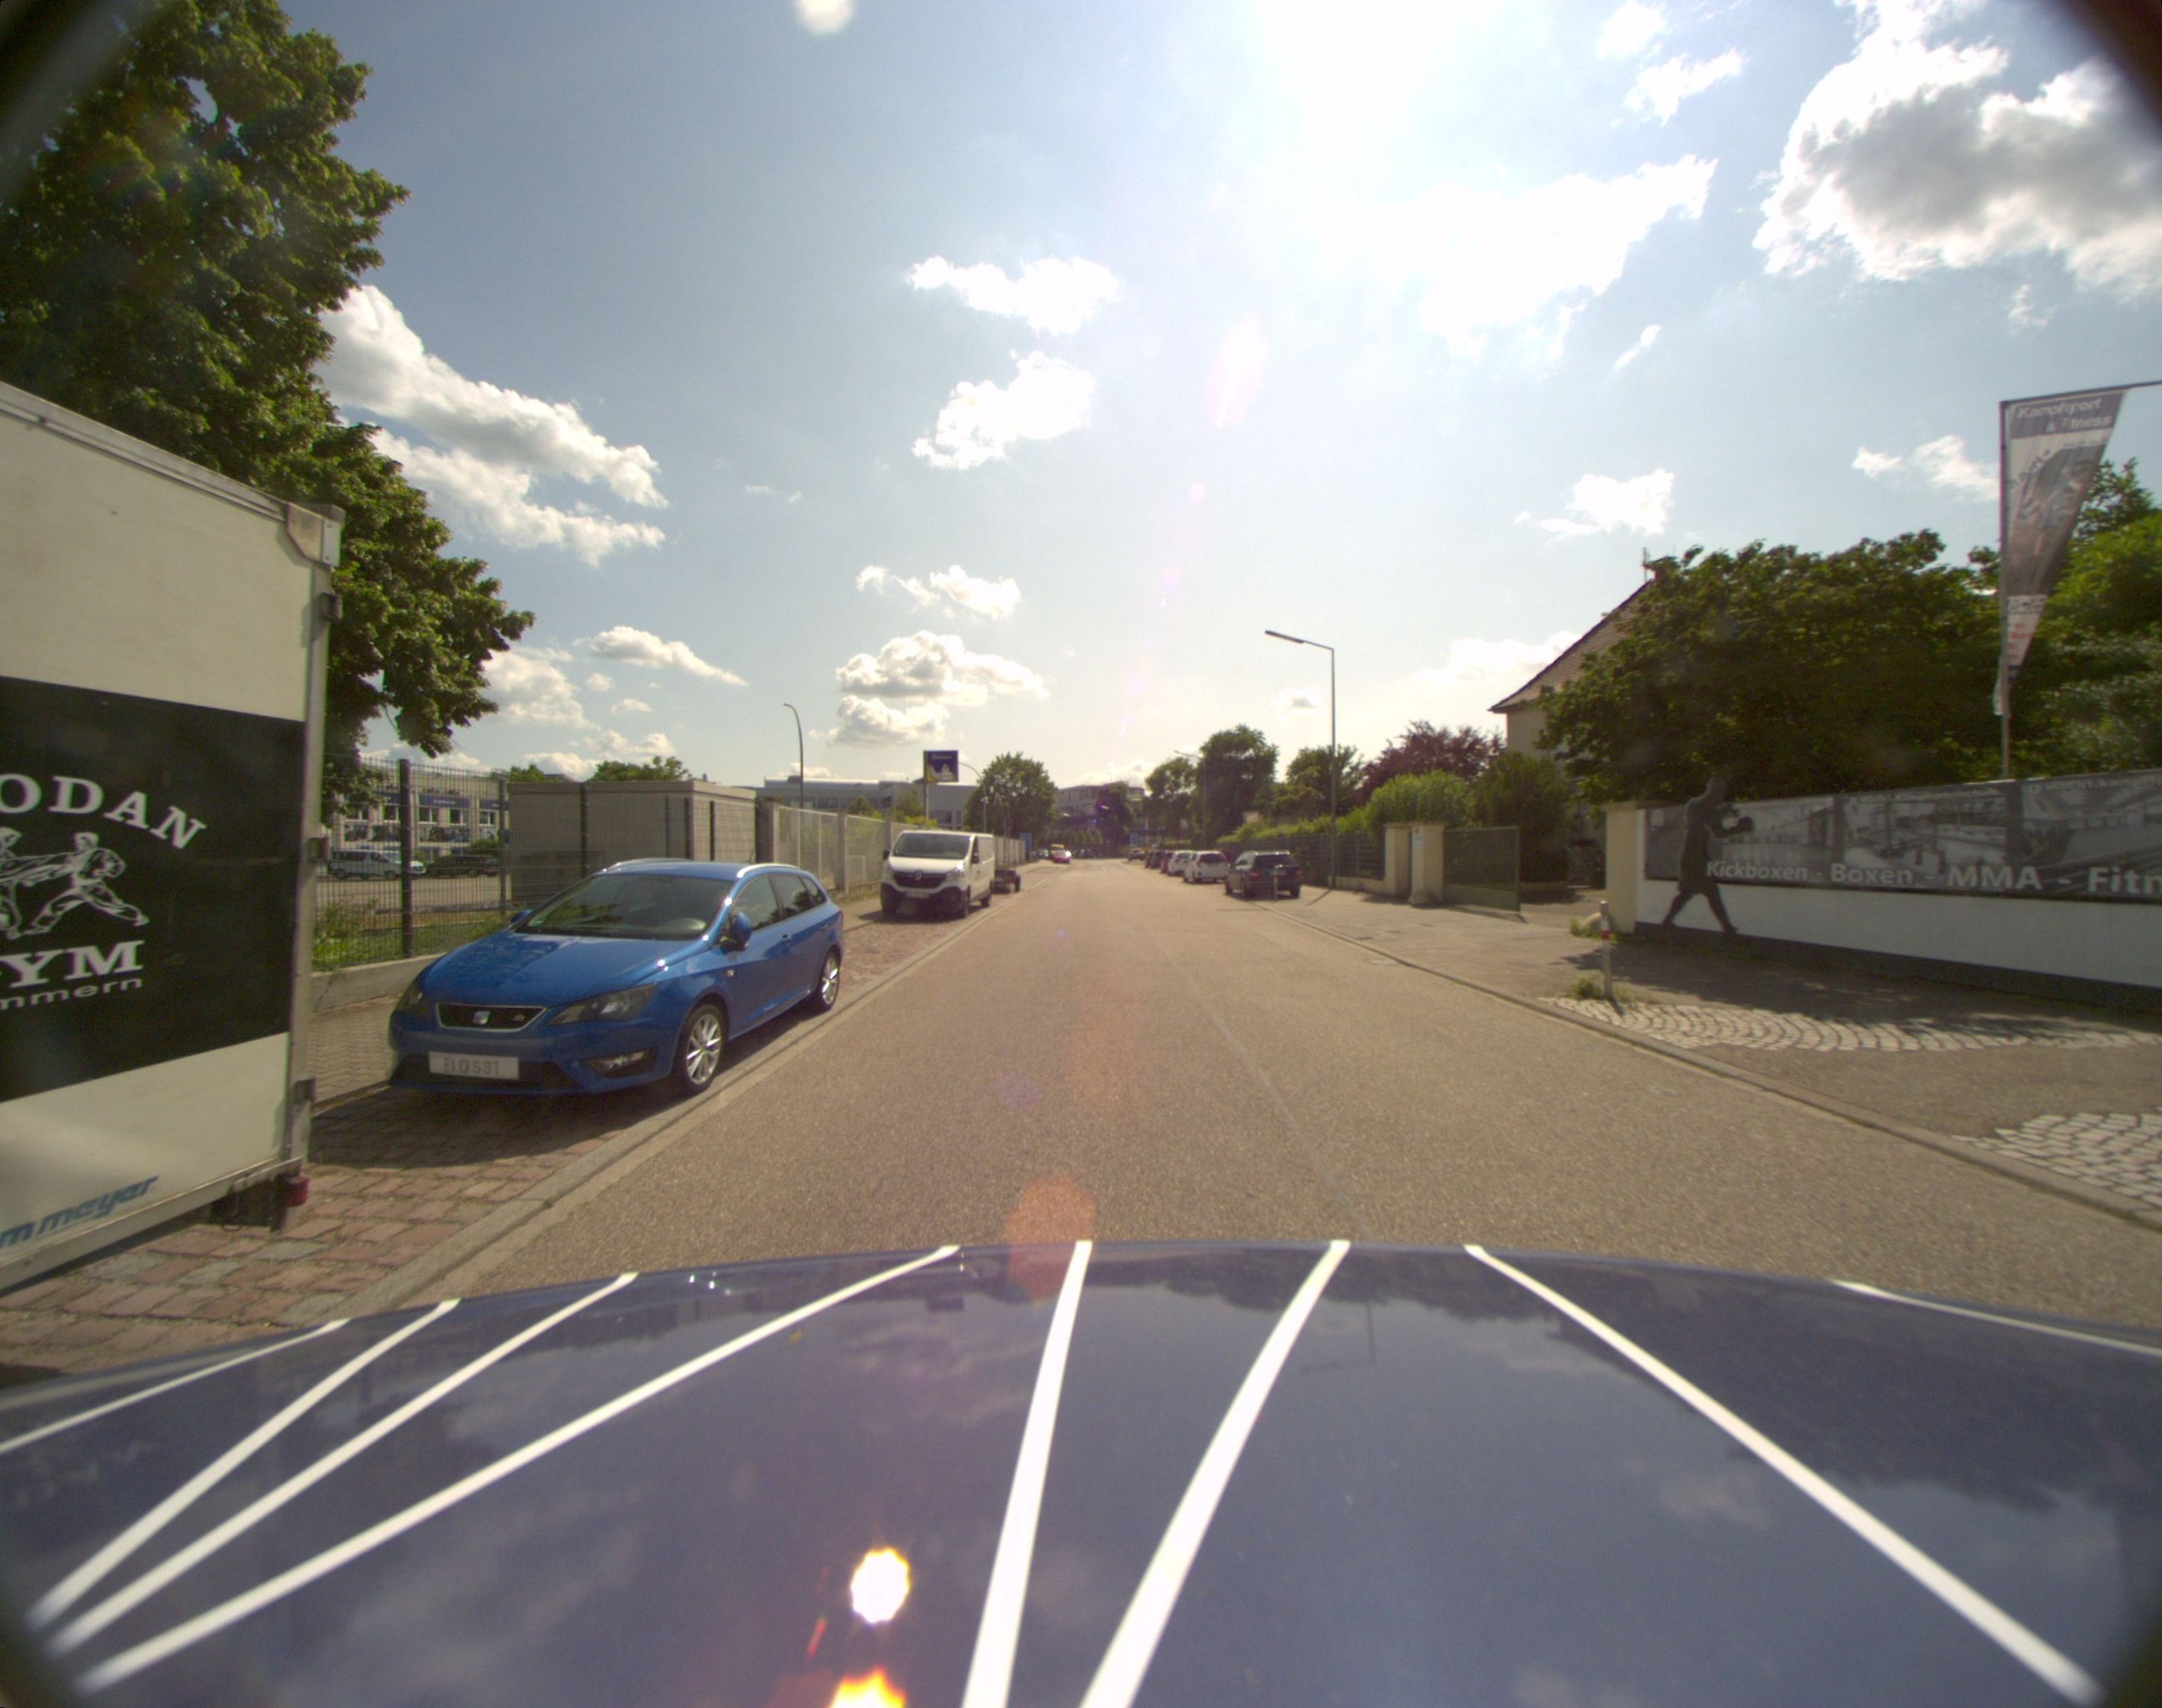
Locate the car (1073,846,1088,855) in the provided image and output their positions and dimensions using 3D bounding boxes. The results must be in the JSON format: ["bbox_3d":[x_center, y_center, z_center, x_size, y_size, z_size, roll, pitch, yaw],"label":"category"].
[{"bbox_3d":[-0.080,-0.682,143.711,1.782,1.673,4.224,-2,1,-14],"label":"car"}]

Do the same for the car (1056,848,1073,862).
[{"bbox_3d":[-1.836,0.129,86.614,1.758,1.478,4.224,3,1,1],"label":"car"}]

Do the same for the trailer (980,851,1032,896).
[{"bbox_3d":[-2.763,0.687,28.729,1.754,1.409,4.547,3,1,-4],"label":"trailer"}]

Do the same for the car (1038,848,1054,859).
[{"bbox_3d":[-6.002,-0.123,129.136,1.856,1.755,5.071,2,0,-11],"label":"car"}]

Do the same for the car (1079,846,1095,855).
[{"bbox_3d":[1.127,-0.607,138.276,1.806,1.641,4.683,-2,1,-14],"label":"car"}]

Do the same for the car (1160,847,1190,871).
[{"bbox_3d":[6.280,0.292,51.032,1.670,1.458,3.743,-2,1,2],"label":"car"}]

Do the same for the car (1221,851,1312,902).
[{"bbox_3d":[5.882,0.665,24.684,1.810,1.410,4.496,-2,1,0],"label":"car"}]

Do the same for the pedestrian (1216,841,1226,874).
[{"bbox_3d":[8.117,0.192,44.152,0.452,1.883,0.677,0,2,1],"label":"pedestrian"}]

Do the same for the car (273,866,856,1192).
[{"bbox_3d":[-3.211,0.922,5.867,1.695,1.452,4.069,2,1,0],"label":"car"}]

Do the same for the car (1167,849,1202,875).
[{"bbox_3d":[6.250,0.460,46.189,1.649,1.469,4.028,0,1,0],"label":"car"}]

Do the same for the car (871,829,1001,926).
[{"bbox_3d":[-3.322,0.457,18.639,1.998,2.002,5.649,1,1,1],"label":"car"}]

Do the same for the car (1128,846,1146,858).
[{"bbox_3d":[7.212,-0.277,97.478,1.762,1.565,4.475,-1,1,-3],"label":"car"}]

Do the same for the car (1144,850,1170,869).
[{"bbox_3d":[6.754,0.467,67.823,1.849,1.499,4.000,-3,1,1],"label":"car"}]

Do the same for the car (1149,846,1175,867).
[{"bbox_3d":[6.704,0.165,63.154,1.655,1.636,3.272,-3,1,-1],"label":"car"}]

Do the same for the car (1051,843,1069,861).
[{"bbox_3d":[-3.160,-0.356,111.012,2.163,2.451,6.635,1,1,-5],"label":"car"}]

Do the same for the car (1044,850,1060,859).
[{"bbox_3d":[-4.746,0.054,122.853,1.839,1.484,4.650,1,0,-12],"label":"car"}]

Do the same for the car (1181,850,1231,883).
[{"bbox_3d":[6.019,0.575,37.077,1.624,1.513,4.174,0,0,-2],"label":"car"}]

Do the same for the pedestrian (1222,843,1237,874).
[{"bbox_3d":[8.721,0.277,44.602,0.710,1.791,0.916,0,2,1],"label":"pedestrian"}]

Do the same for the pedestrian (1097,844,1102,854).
[{"bbox_3d":[3.408,-0.882,138.767,0.831,1.751,0.844,-2,2,-8],"label":"pedestrian"}]

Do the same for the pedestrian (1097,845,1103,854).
[{"bbox_3d":[3.454,-0.865,137.636,0.845,1.682,0.830,-2,2,-8],"label":"pedestrian"}]
